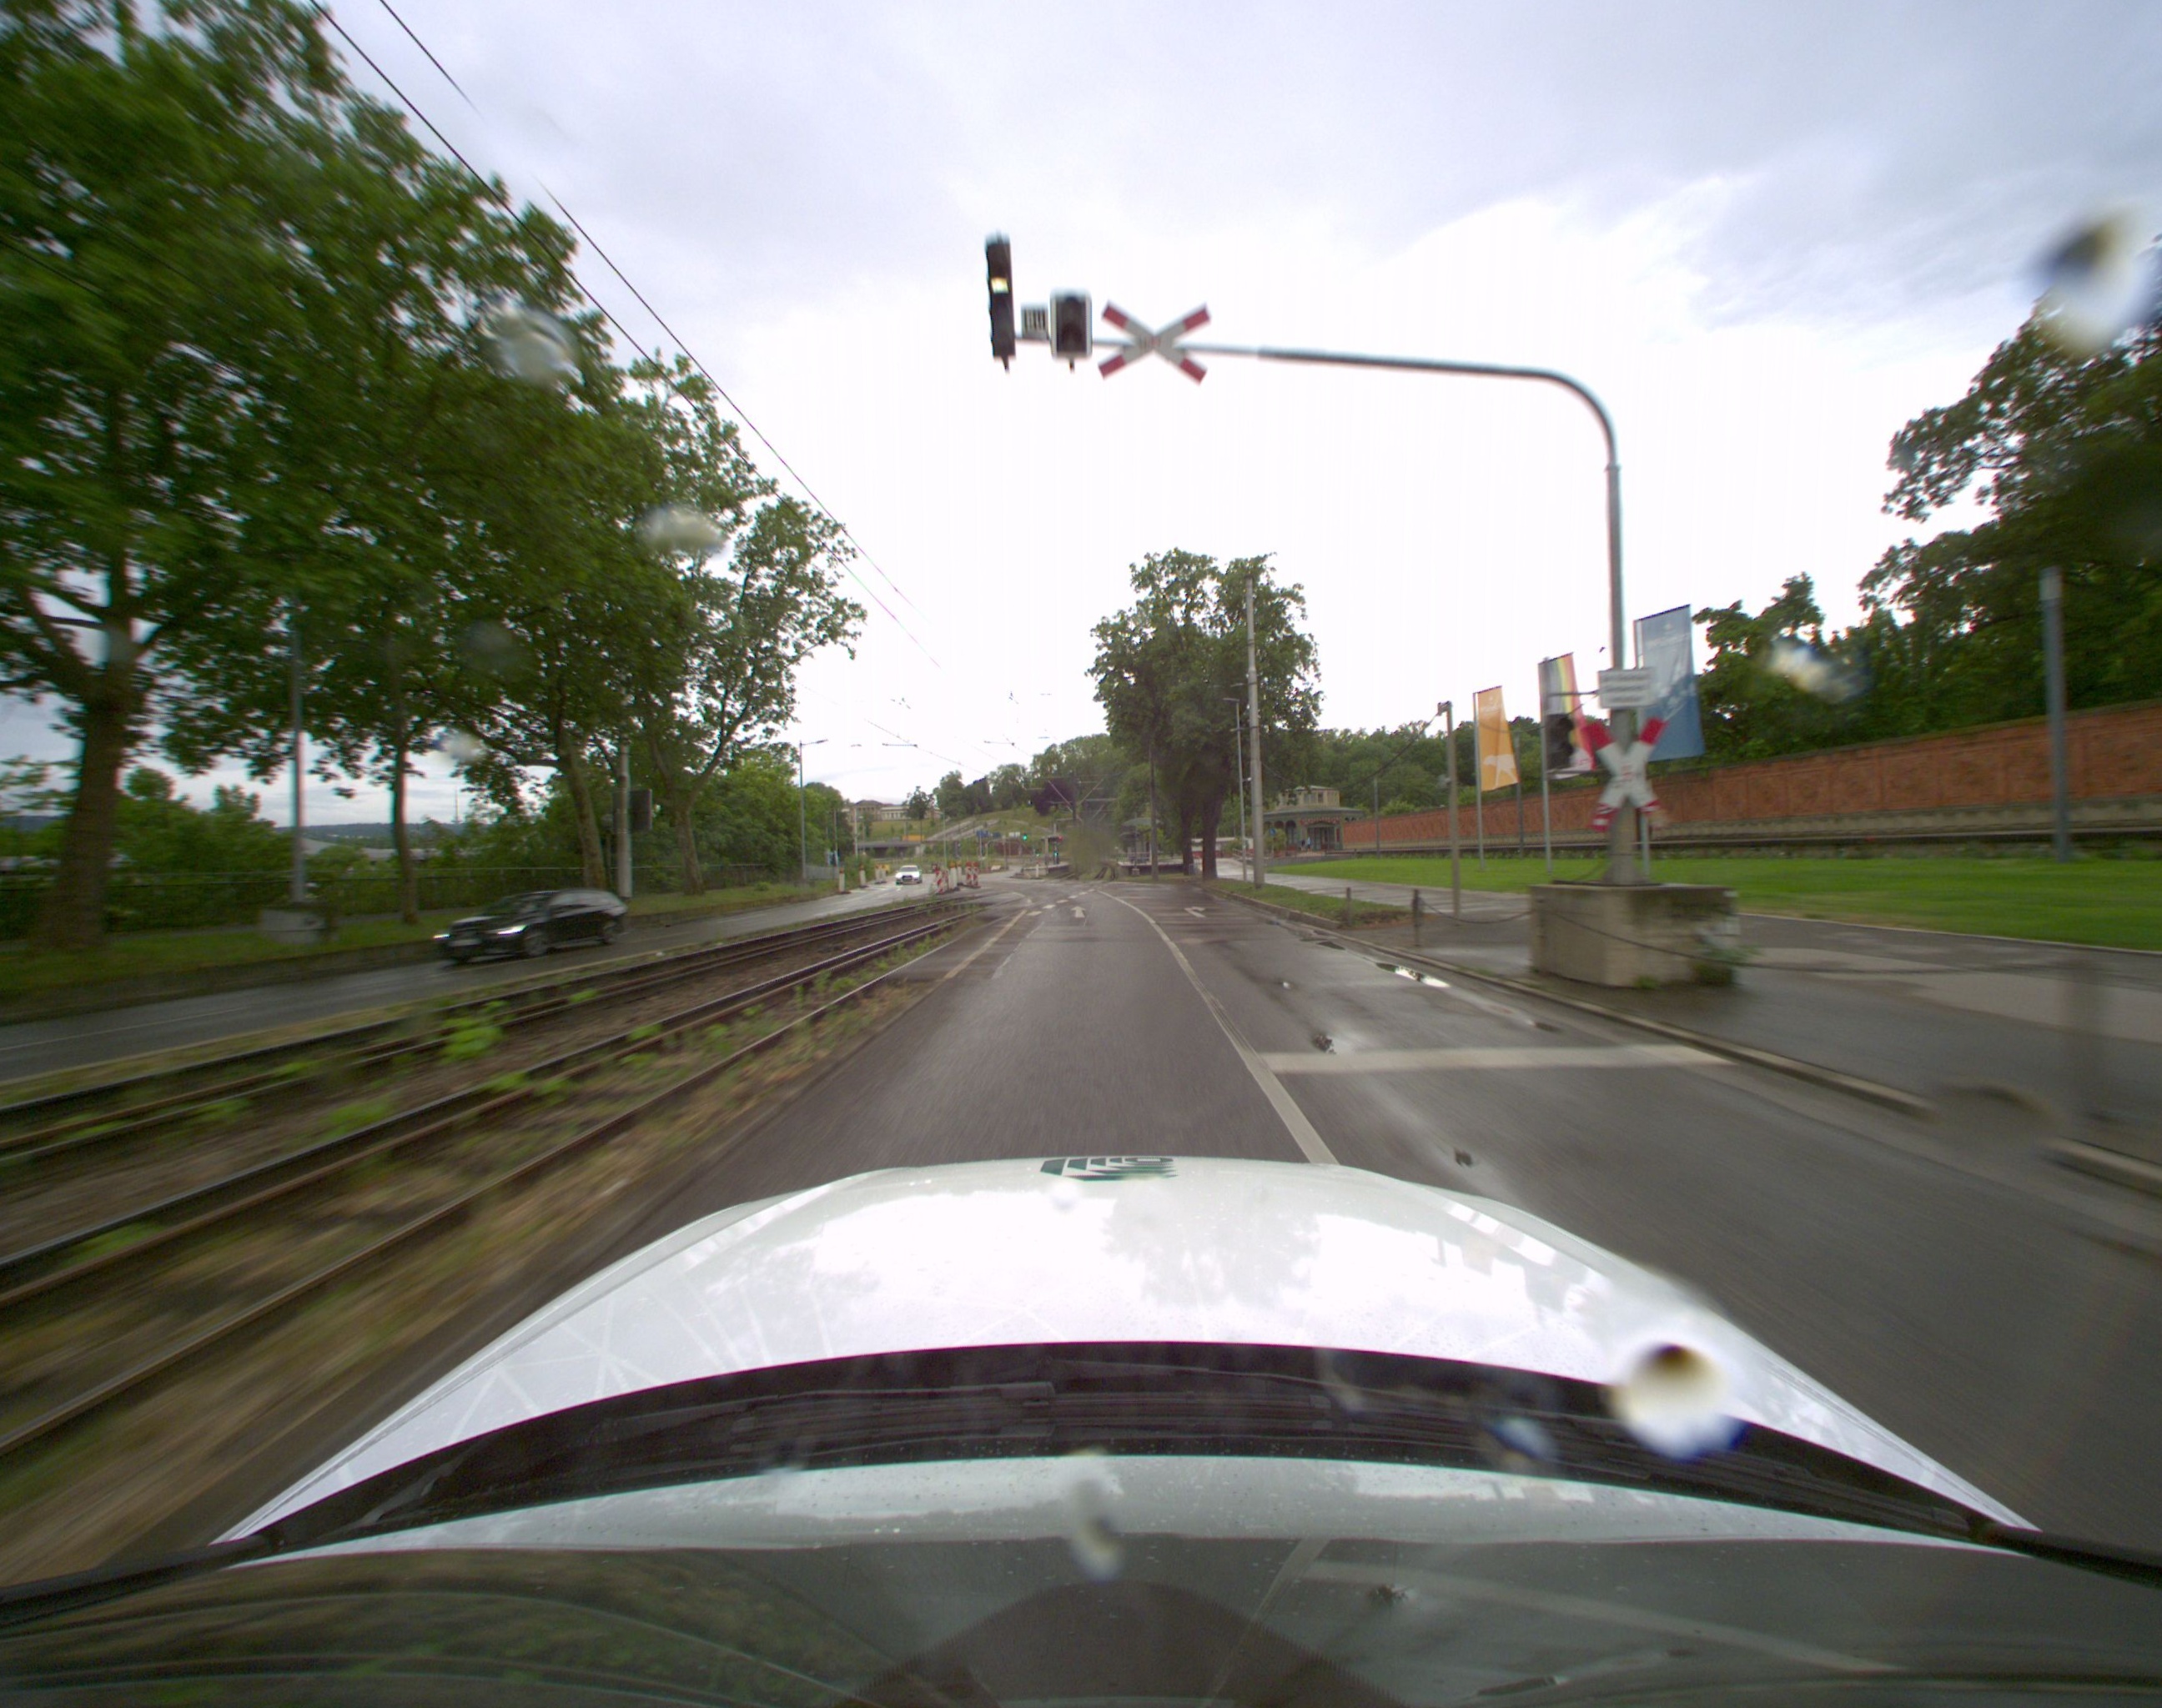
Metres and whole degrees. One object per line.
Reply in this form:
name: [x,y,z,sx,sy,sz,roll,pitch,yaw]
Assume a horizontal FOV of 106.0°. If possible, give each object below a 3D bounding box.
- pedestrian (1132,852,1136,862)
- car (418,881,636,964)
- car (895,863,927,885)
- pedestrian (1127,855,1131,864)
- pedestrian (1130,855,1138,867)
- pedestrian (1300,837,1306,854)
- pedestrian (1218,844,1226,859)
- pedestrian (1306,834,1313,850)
pedestrian: [7.059,0.375,107.908,0.435,1.226,0.551,-3,-1,3]
car: [-12.359,1.455,18.608,1.740,1.430,4.560,-3,0,1]
car: [-13.480,1.555,64.677,1.705,1.499,4.714,-3,0,-3]
pedestrian: [6.302,0.731,107.517,0.435,1.226,0.551,-3,-1,3]
pedestrian: [5.049,0.701,77.906,0.601,1.119,0.518,2,-2,-14]
pedestrian: [23.284,-0.892,85.420,0.527,1.711,0.697,0,-2,13]
pedestrian: [17.169,-0.267,98.895,0.718,1.790,1.183,-4,0,2]
pedestrian: [23.773,-1.268,84.836,0.544,1.657,0.472,-2,-2,36]
